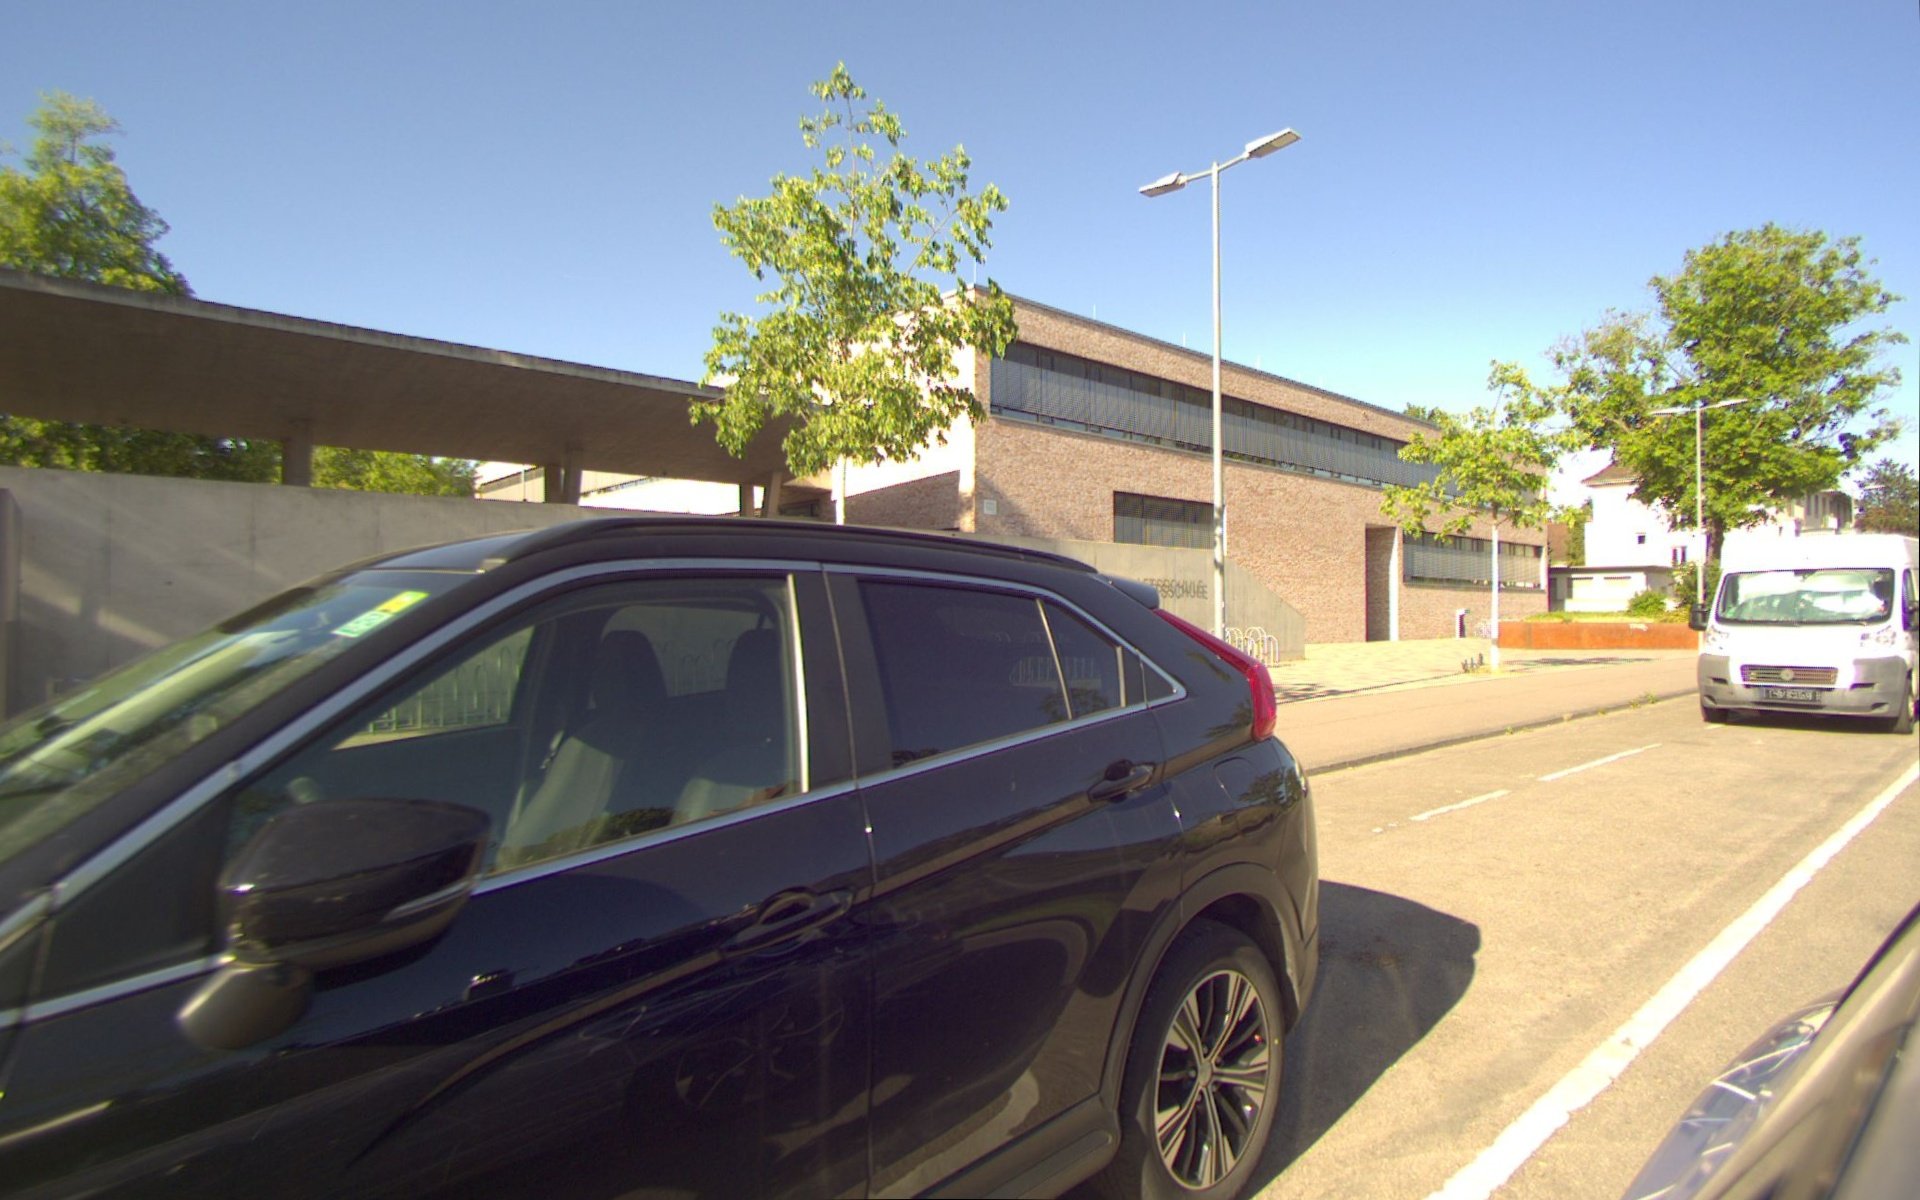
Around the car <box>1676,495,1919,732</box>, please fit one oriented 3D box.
[{"bbox_3d":[11.867,0.159,13.756,5.337,2.607,2.244,0,-1,-41],"label":"car"}]

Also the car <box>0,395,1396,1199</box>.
[{"bbox_3d":[-1.031,0.639,2.056,4.426,1.661,1.848,0,0,-42],"label":"car"}]

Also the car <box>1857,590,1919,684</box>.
[{"bbox_3d":[17.763,0.638,18.582,3.531,1.609,1.621,1,-1,-43],"label":"car"}]
